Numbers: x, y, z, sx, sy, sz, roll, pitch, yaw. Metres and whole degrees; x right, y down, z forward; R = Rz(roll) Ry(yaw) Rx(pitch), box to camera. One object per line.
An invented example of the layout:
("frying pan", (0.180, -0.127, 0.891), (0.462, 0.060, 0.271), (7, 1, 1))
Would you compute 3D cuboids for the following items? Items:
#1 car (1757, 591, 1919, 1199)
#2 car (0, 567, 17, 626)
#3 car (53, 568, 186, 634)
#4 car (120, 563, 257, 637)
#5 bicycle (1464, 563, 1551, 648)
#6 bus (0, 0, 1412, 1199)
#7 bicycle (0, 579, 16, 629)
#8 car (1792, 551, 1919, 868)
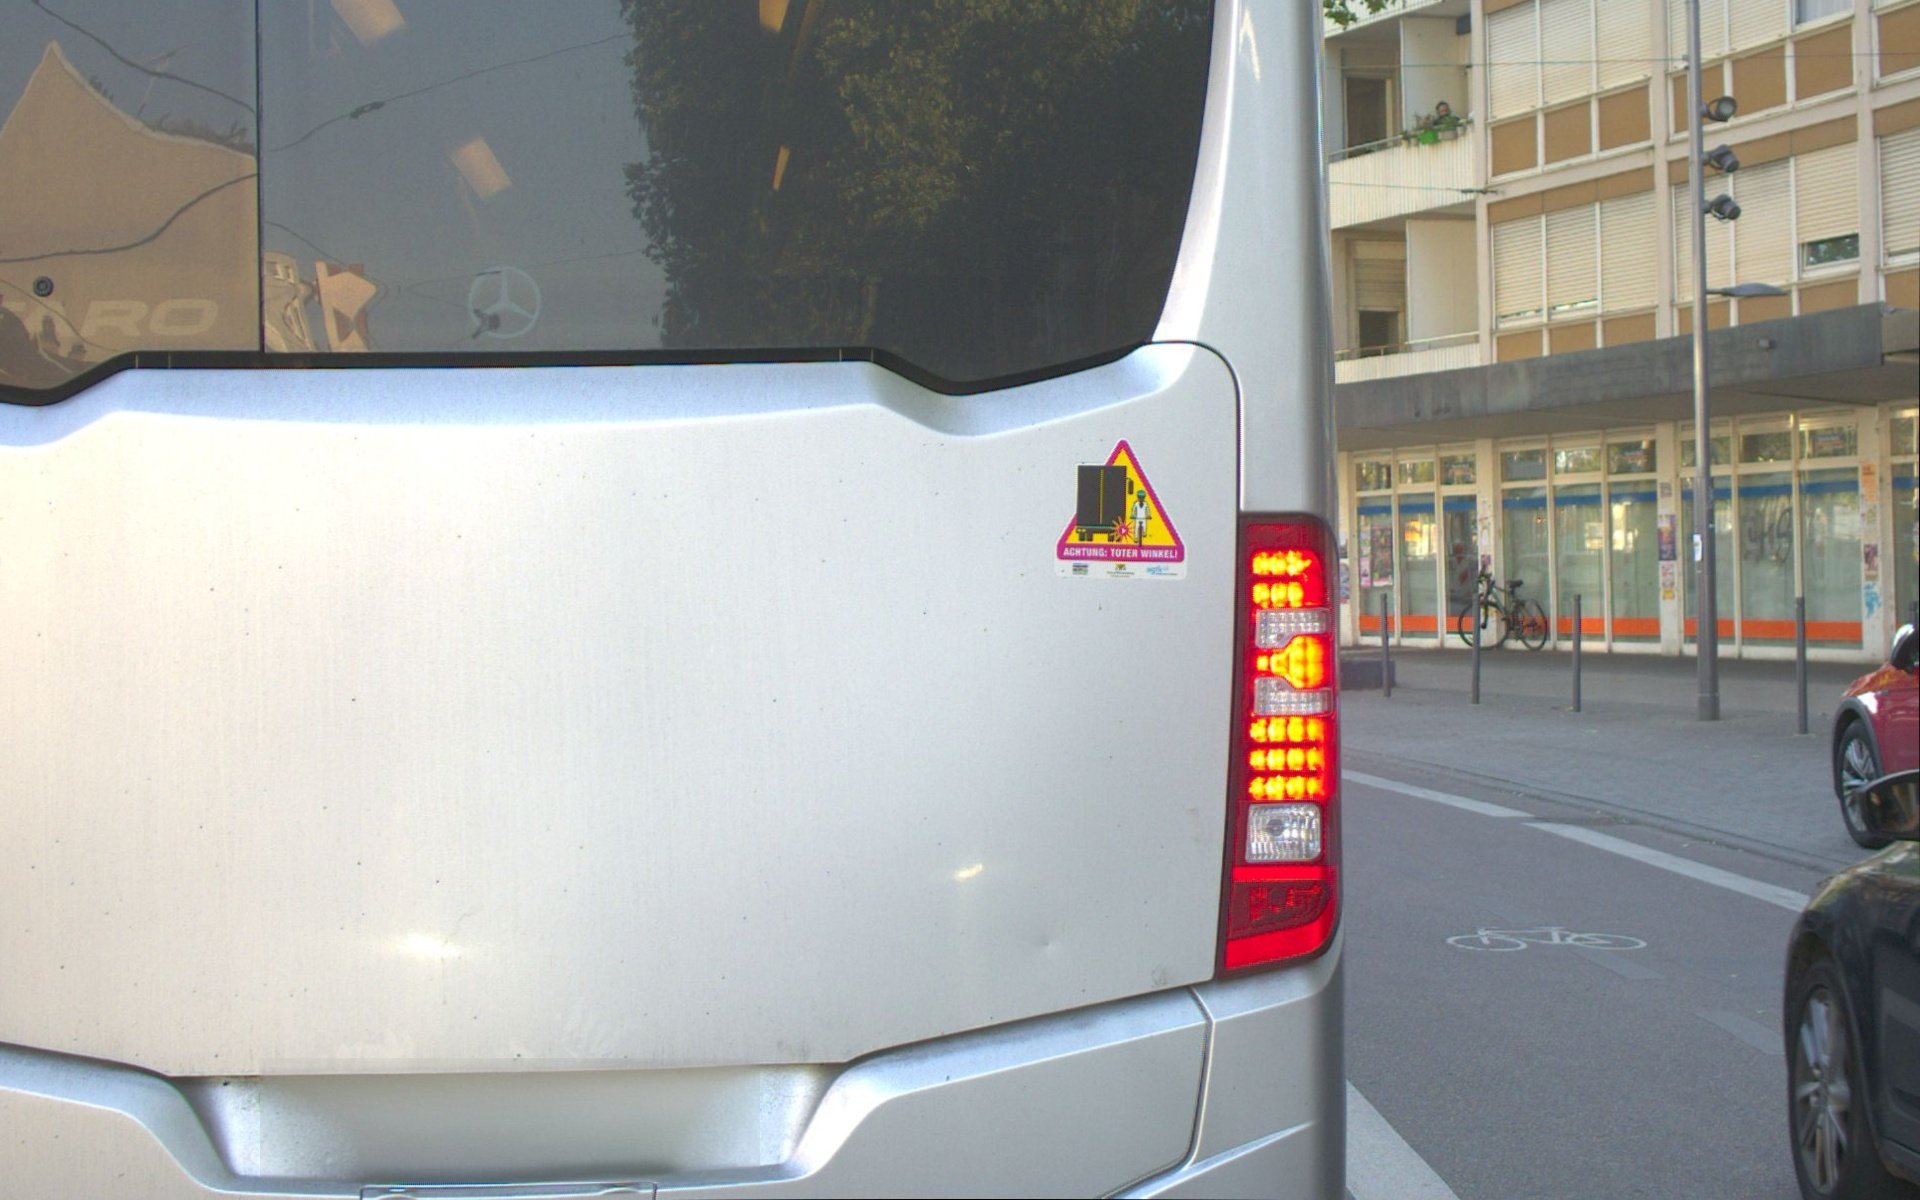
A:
("car", (2.838, 0.751, 6.073), (1.803, 1.469, 4.072), (1, 0, -1))
("car", (-25.679, -0.051, 88.049), (1.663, 1.463, 3.411), (-5, 4, -38))
("car", (-19.808, 0.010, 80.990), (1.663, 1.390, 3.411), (-6, 4, -39))
("car", (-17.448, -0.009, 77.672), (1.663, 1.511, 3.412), (-5, 4, -37))
("bicycle", (7.232, 0.064, 45.457), (0.437, 1.089, 1.462), (-4, 2, -20))
("bus", (-0.917, -0.152, 9.918), (2.657, 3.088, 10.217), (-1, 0, -2))
("bicycle", (-23.706, 0.102, 84.951), (0.507, 1.207, 2.093), (-1, 1, -21))
("car", (5.506, 0.501, 15.990), (1.778, 1.491, 4.568), (-3, 1, -4))
